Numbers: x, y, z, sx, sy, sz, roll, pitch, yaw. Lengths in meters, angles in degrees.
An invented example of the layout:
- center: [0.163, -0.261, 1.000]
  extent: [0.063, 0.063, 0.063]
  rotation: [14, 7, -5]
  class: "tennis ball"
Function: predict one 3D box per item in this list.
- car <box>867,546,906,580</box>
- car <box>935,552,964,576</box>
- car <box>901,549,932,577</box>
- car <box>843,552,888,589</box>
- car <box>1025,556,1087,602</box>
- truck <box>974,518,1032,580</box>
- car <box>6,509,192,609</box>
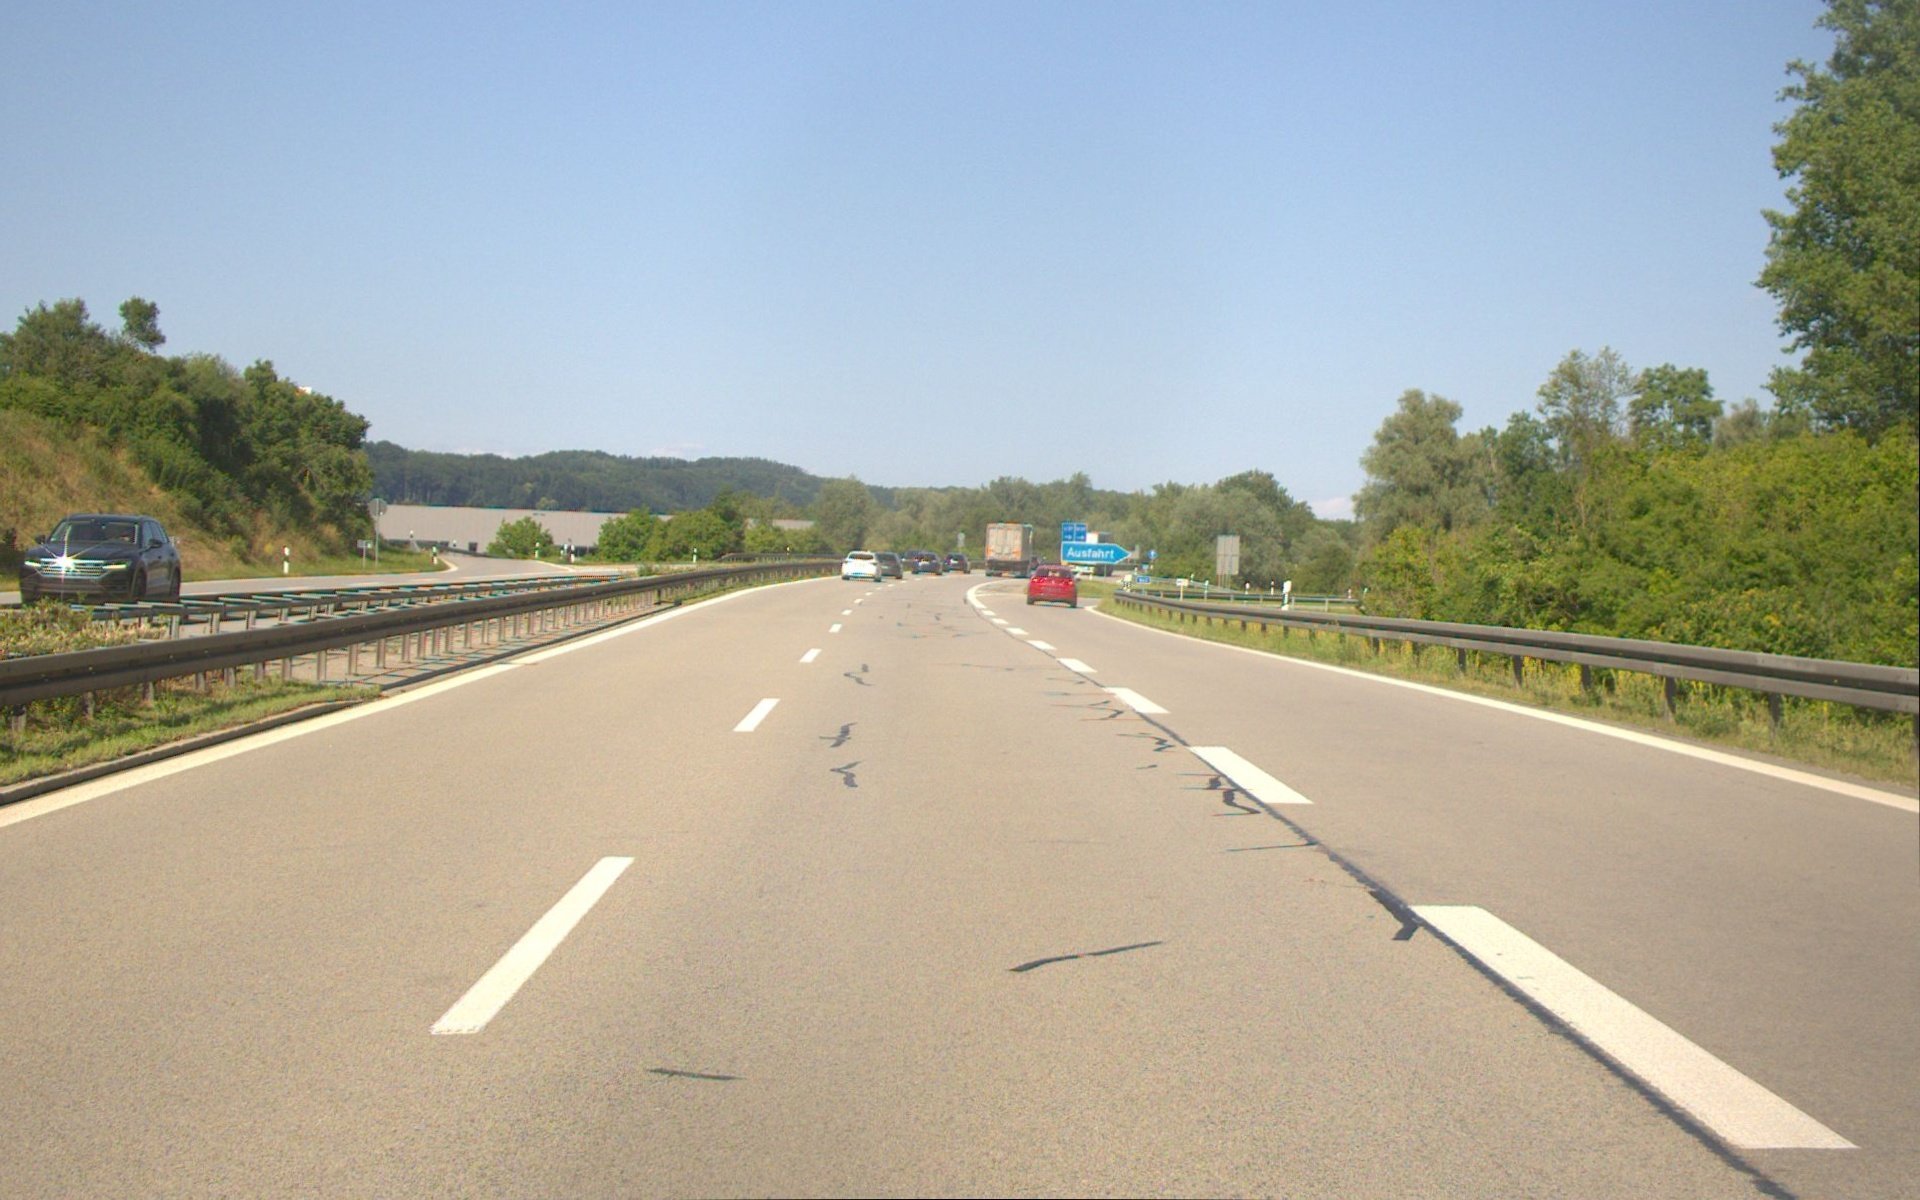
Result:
- center: [-3.943, -1.983, 184.564]
  extent: [1.993, 1.744, 4.000]
  rotation: [2, 1, -1]
  class: "car"
- center: [-0.768, -2.703, 256.704]
  extent: [1.993, 1.744, 4.000]
  rotation: [2, 1, 1]
  class: "car"
- center: [-2.866, -2.429, 227.009]
  extent: [1.993, 1.744, 4.000]
  rotation: [2, 1, -1]
  class: "car"
- center: [-4.524, -1.426, 165.328]
  extent: [2.061, 1.619, 4.000]
  rotation: [1, -2, -1]
  class: "car"
- center: [3.444, -0.745, 122.716]
  extent: [1.784, 1.426, 3.999]
  rotation: [5, 0, 6]
  class: "car"
- center: [3.166, -3.712, 250.001]
  extent: [3.838, 4.382, 11.471]
  rotation: [1, 1, 2]
  class: "truck"
- center: [-14.862, -0.689, 59.608]
  extent: [1.993, 1.639, 5.084]
  rotation: [1, 0, -1]
  class: "car"
